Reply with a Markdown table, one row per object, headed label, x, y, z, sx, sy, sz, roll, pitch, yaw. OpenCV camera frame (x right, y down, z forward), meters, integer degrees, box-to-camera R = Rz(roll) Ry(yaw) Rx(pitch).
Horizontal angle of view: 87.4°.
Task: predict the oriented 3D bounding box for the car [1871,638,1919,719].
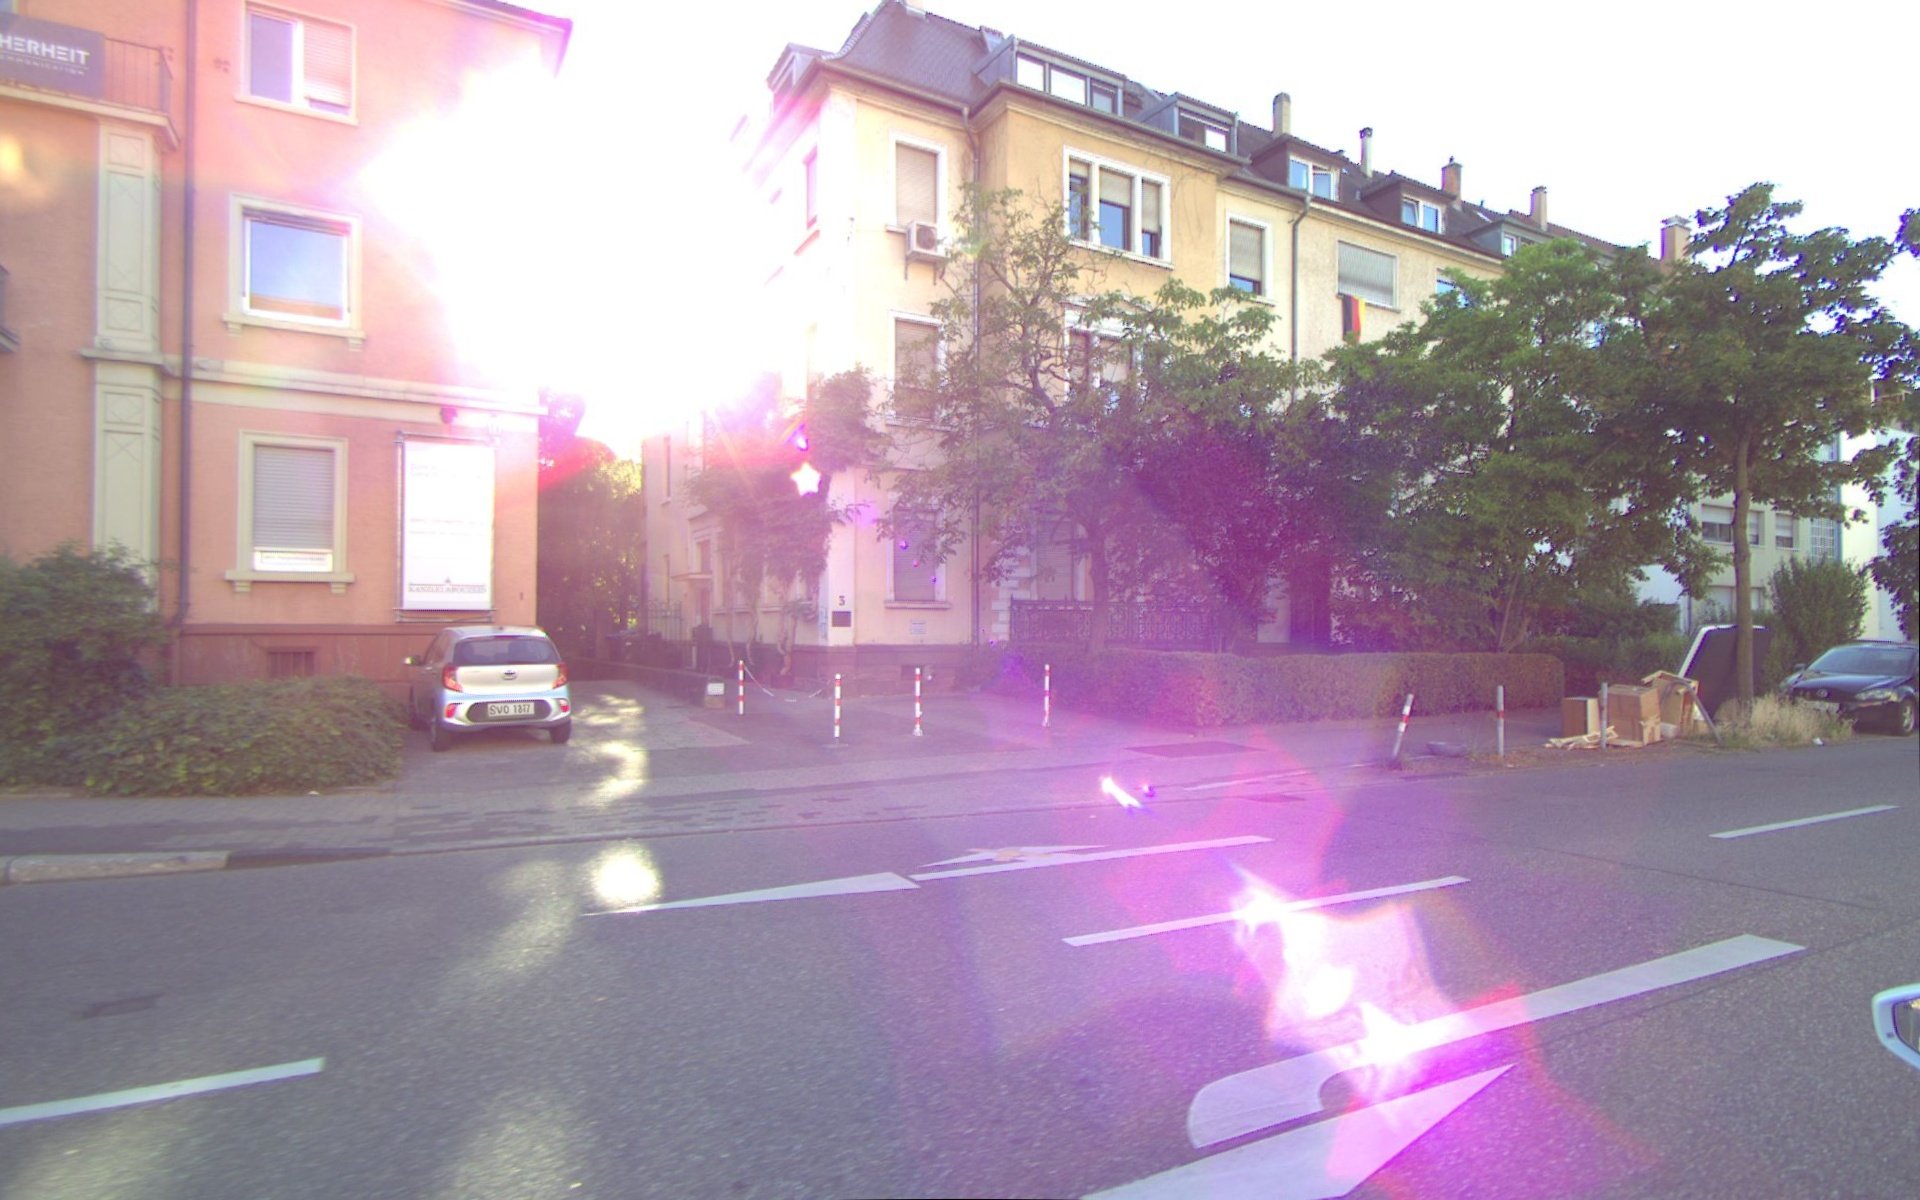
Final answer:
| label | x | y | z | sx | sy | sz | roll | pitch | yaw |
| --- | --- | --- | --- | --- | --- | --- | --- | --- | --- |
| car | 20.157 | 1.532 | 20.082 | 3.930 | 1.522 | 1.743 | 1 | -1 | -30 |

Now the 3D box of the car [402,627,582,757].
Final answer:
| label | x | y | z | sx | sy | sz | roll | pitch | yaw |
| --- | --- | --- | --- | --- | --- | --- | --- | --- | --- |
| car | -6.433 | 1.119 | 13.618 | 1.796 | 1.505 | 3.478 | 1 | -2 | -32 |

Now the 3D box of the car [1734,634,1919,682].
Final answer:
| label | x | y | z | sx | sy | sz | roll | pitch | yaw |
| --- | --- | --- | --- | --- | --- | --- | --- | --- | --- |
| car | 27.897 | 1.796 | 32.154 | 1.985 | 1.380 | 4.669 | 1 | -2 | -41 |

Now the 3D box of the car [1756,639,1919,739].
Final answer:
| label | x | y | z | sx | sy | sz | roll | pitch | yaw |
| --- | --- | --- | --- | --- | --- | --- | --- | --- | --- |
| car | 15.953 | 1.473 | 17.588 | 4.146 | 1.522 | 1.742 | 1 | -1 | -30 |

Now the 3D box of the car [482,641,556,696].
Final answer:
| label | x | y | z | sx | sy | sz | roll | pitch | yaw |
| --- | --- | --- | --- | --- | --- | --- | --- | --- | --- |
| car | -15.538 | 2.344 | 35.282 | 1.796 | 1.785 | 3.955 | 1 | -2 | -32 |
